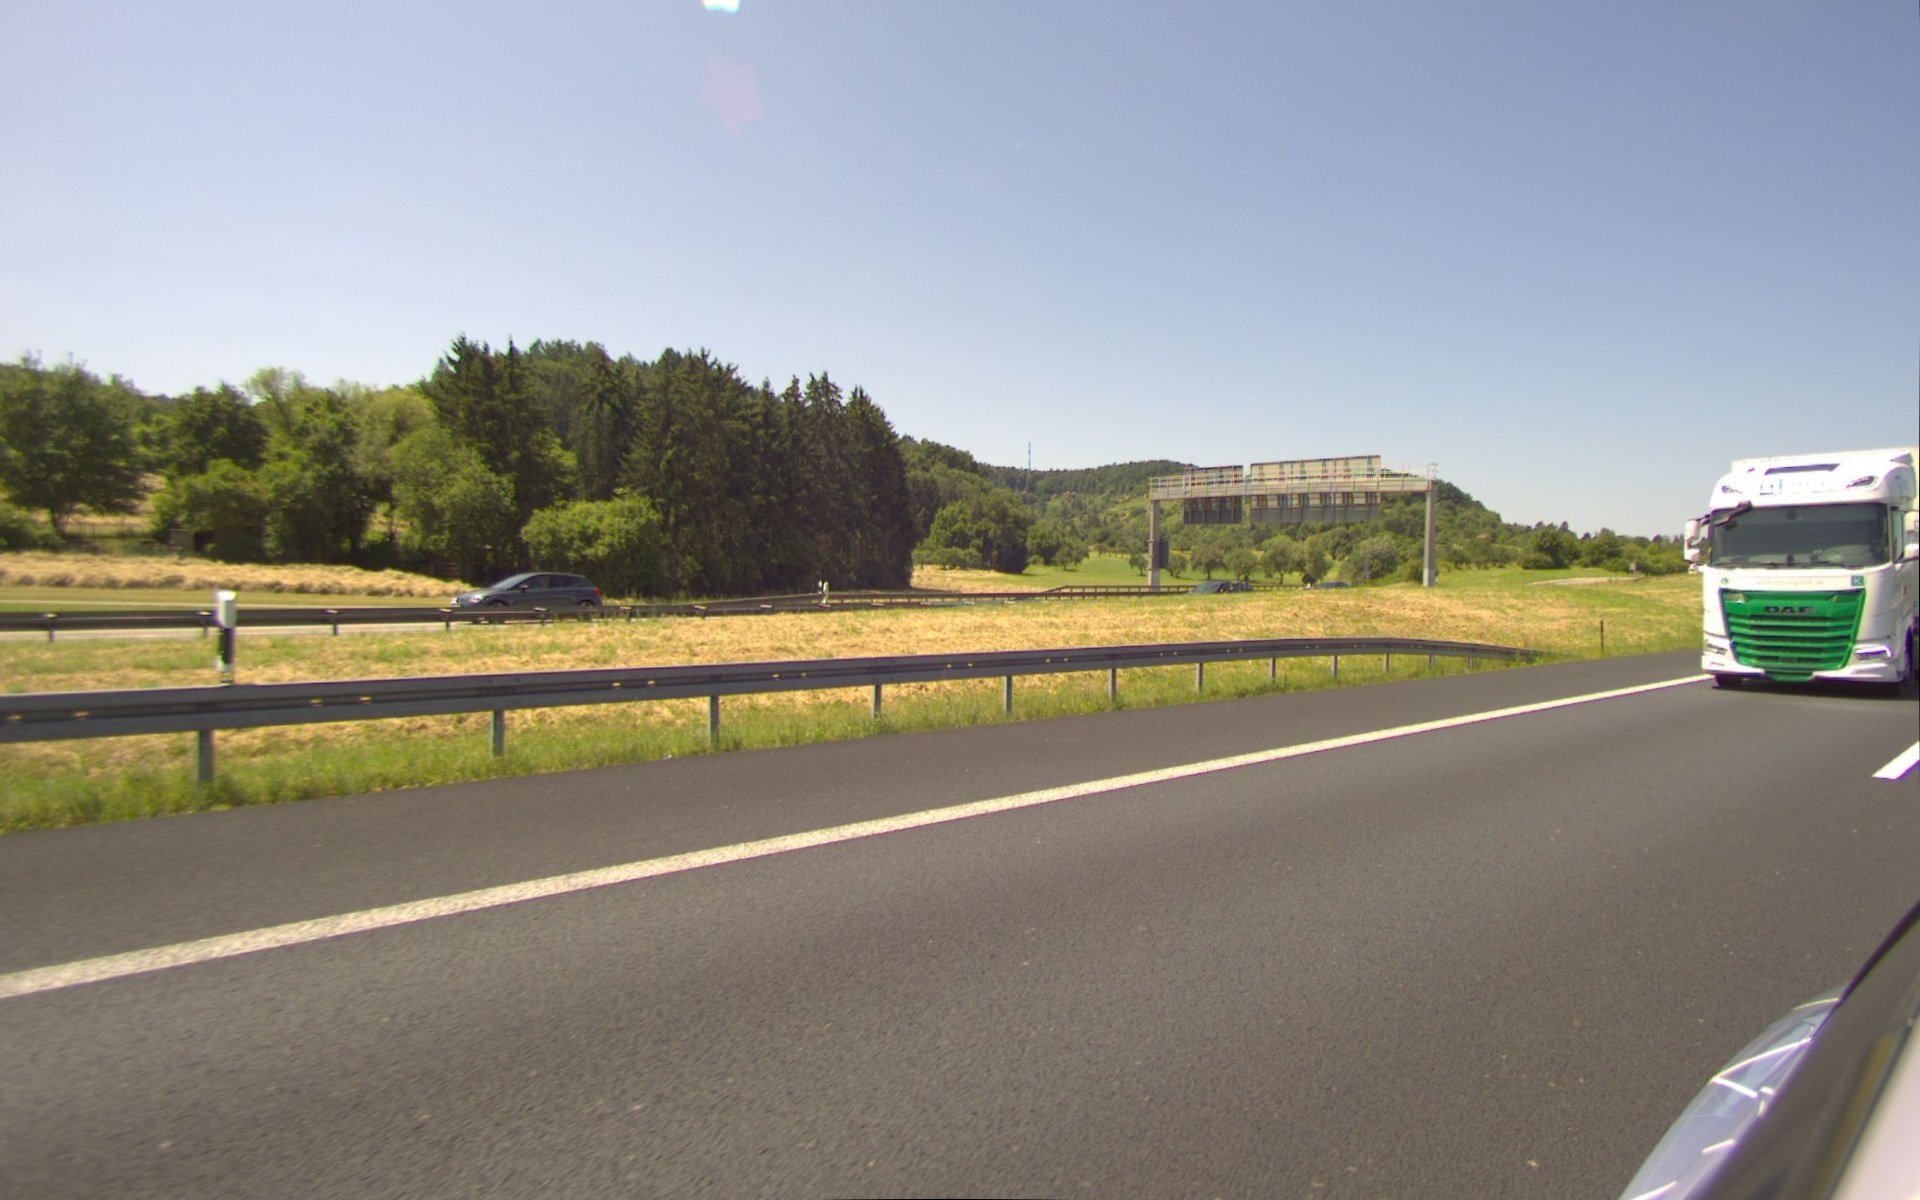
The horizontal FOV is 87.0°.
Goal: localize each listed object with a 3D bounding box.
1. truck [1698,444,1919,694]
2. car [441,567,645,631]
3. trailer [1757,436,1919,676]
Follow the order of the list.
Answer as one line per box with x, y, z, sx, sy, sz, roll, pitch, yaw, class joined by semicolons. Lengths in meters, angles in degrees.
14.678;-0.473;17.138;4.328;3.638;2.646;-1;0;-42;truck
-12.013;-0.057;29.412;5.143;1.683;1.994;-1;0;-45;car
21.788;-0.814;23.392;14.636;4.241;2.660;0;0;-41;trailer
